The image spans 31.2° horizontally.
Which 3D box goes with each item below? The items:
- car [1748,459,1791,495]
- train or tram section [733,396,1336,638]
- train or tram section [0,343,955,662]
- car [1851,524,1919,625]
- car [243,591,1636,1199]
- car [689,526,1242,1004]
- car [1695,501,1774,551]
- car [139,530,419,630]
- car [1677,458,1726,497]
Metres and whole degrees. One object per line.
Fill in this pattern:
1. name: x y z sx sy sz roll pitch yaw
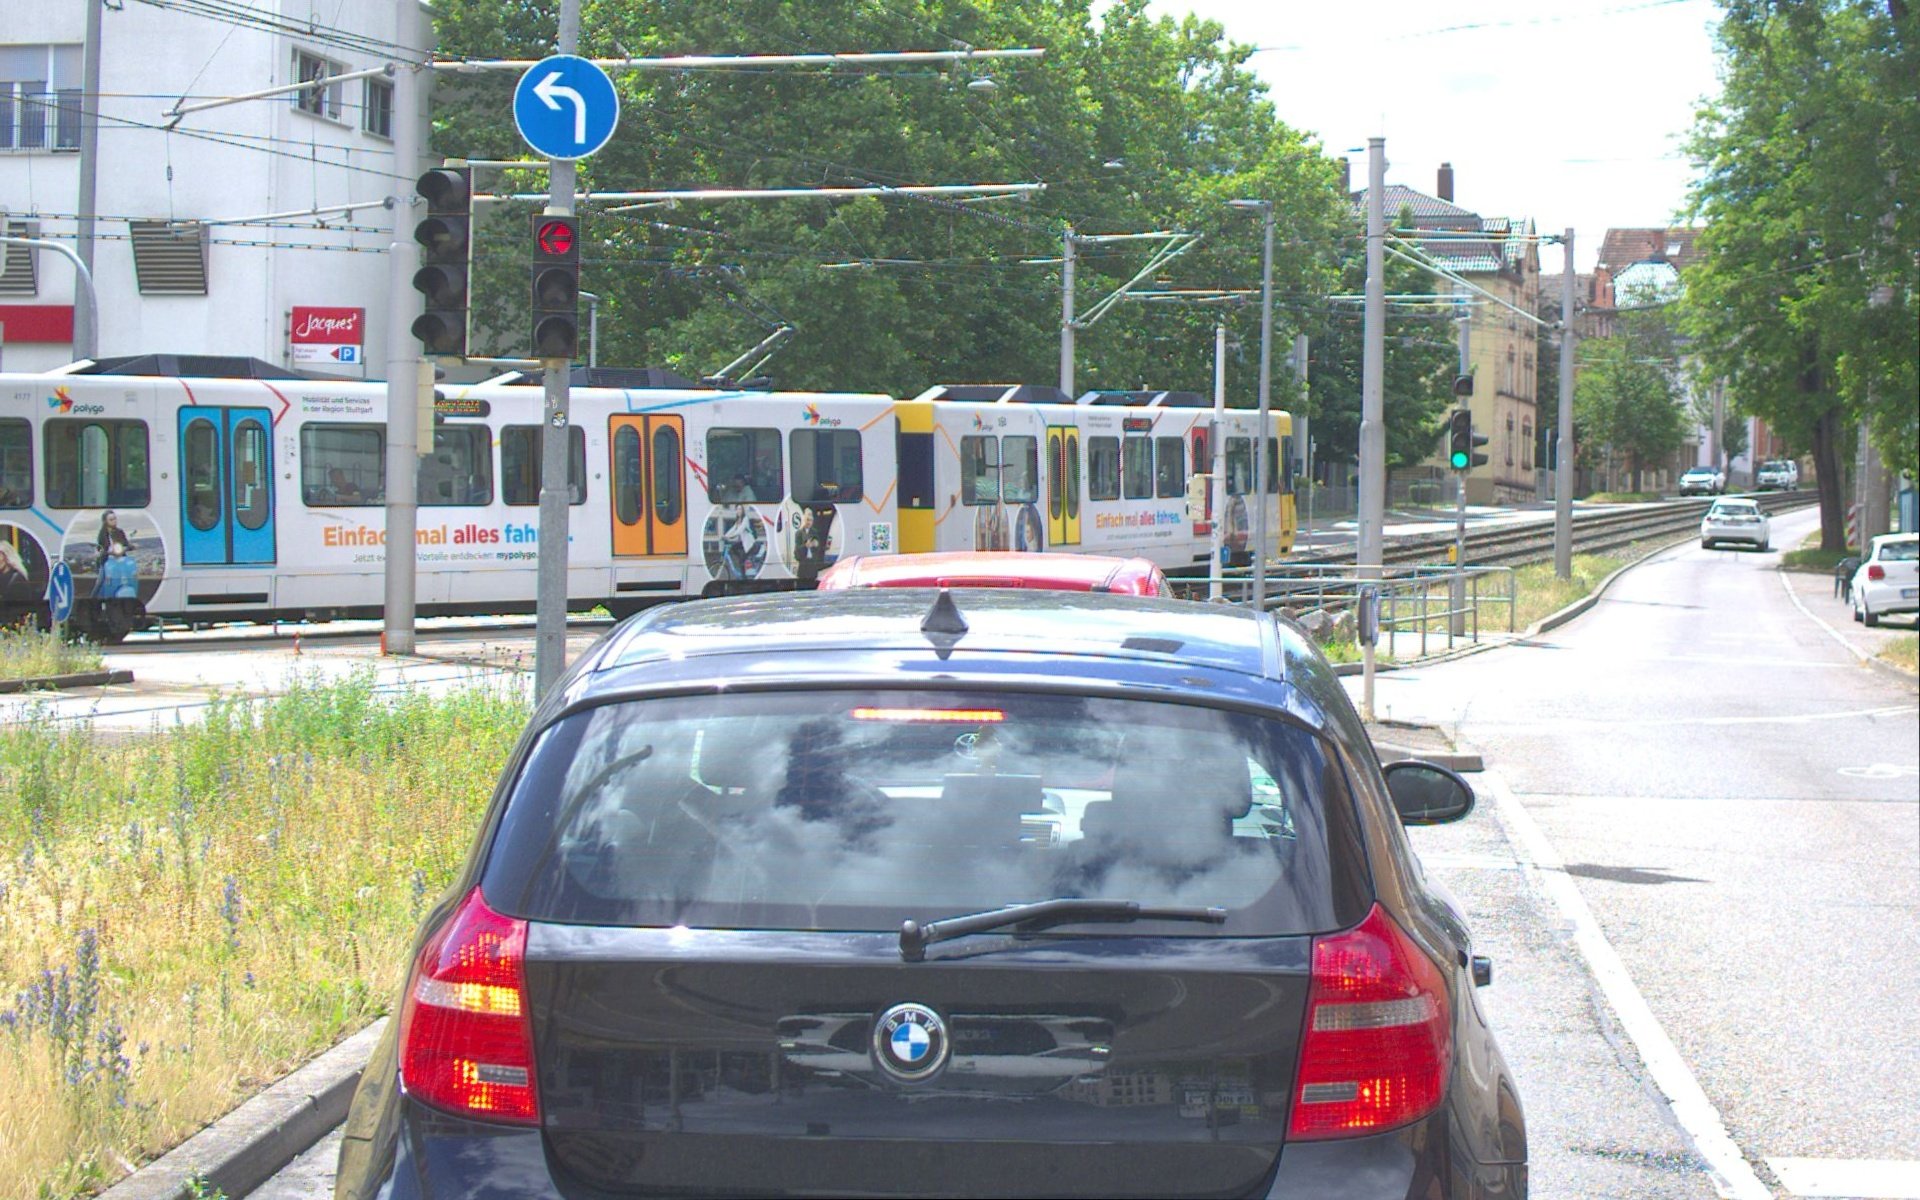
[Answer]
1. car: 48.750 -7.378 207.026 1.996 2.007 3.996 0 0 21
2. train or tram section: 2.128 -1.366 64.061 3.754 3.801 20.026 0 0 24
3. train or tram section: -8.508 -1.231 47.882 3.759 3.866 20.583 0 0 43
4. car: 15.467 -0.411 55.836 1.788 1.590 3.998 0 0 13
5. car: -0.112 0.714 6.207 1.701 1.447 4.000 0 0 -3
6. car: 0.173 0.504 12.631 1.625 1.468 3.999 0 0 6
7. car: 22.957 -2.193 101.781 1.817 1.463 3.996 0 1 19
8. car: -11.176 -0.329 56.547 4.158 1.579 1.858 -1 0 -43
9. car: 40.515 -6.672 187.729 1.996 2.007 3.996 0 0 21
